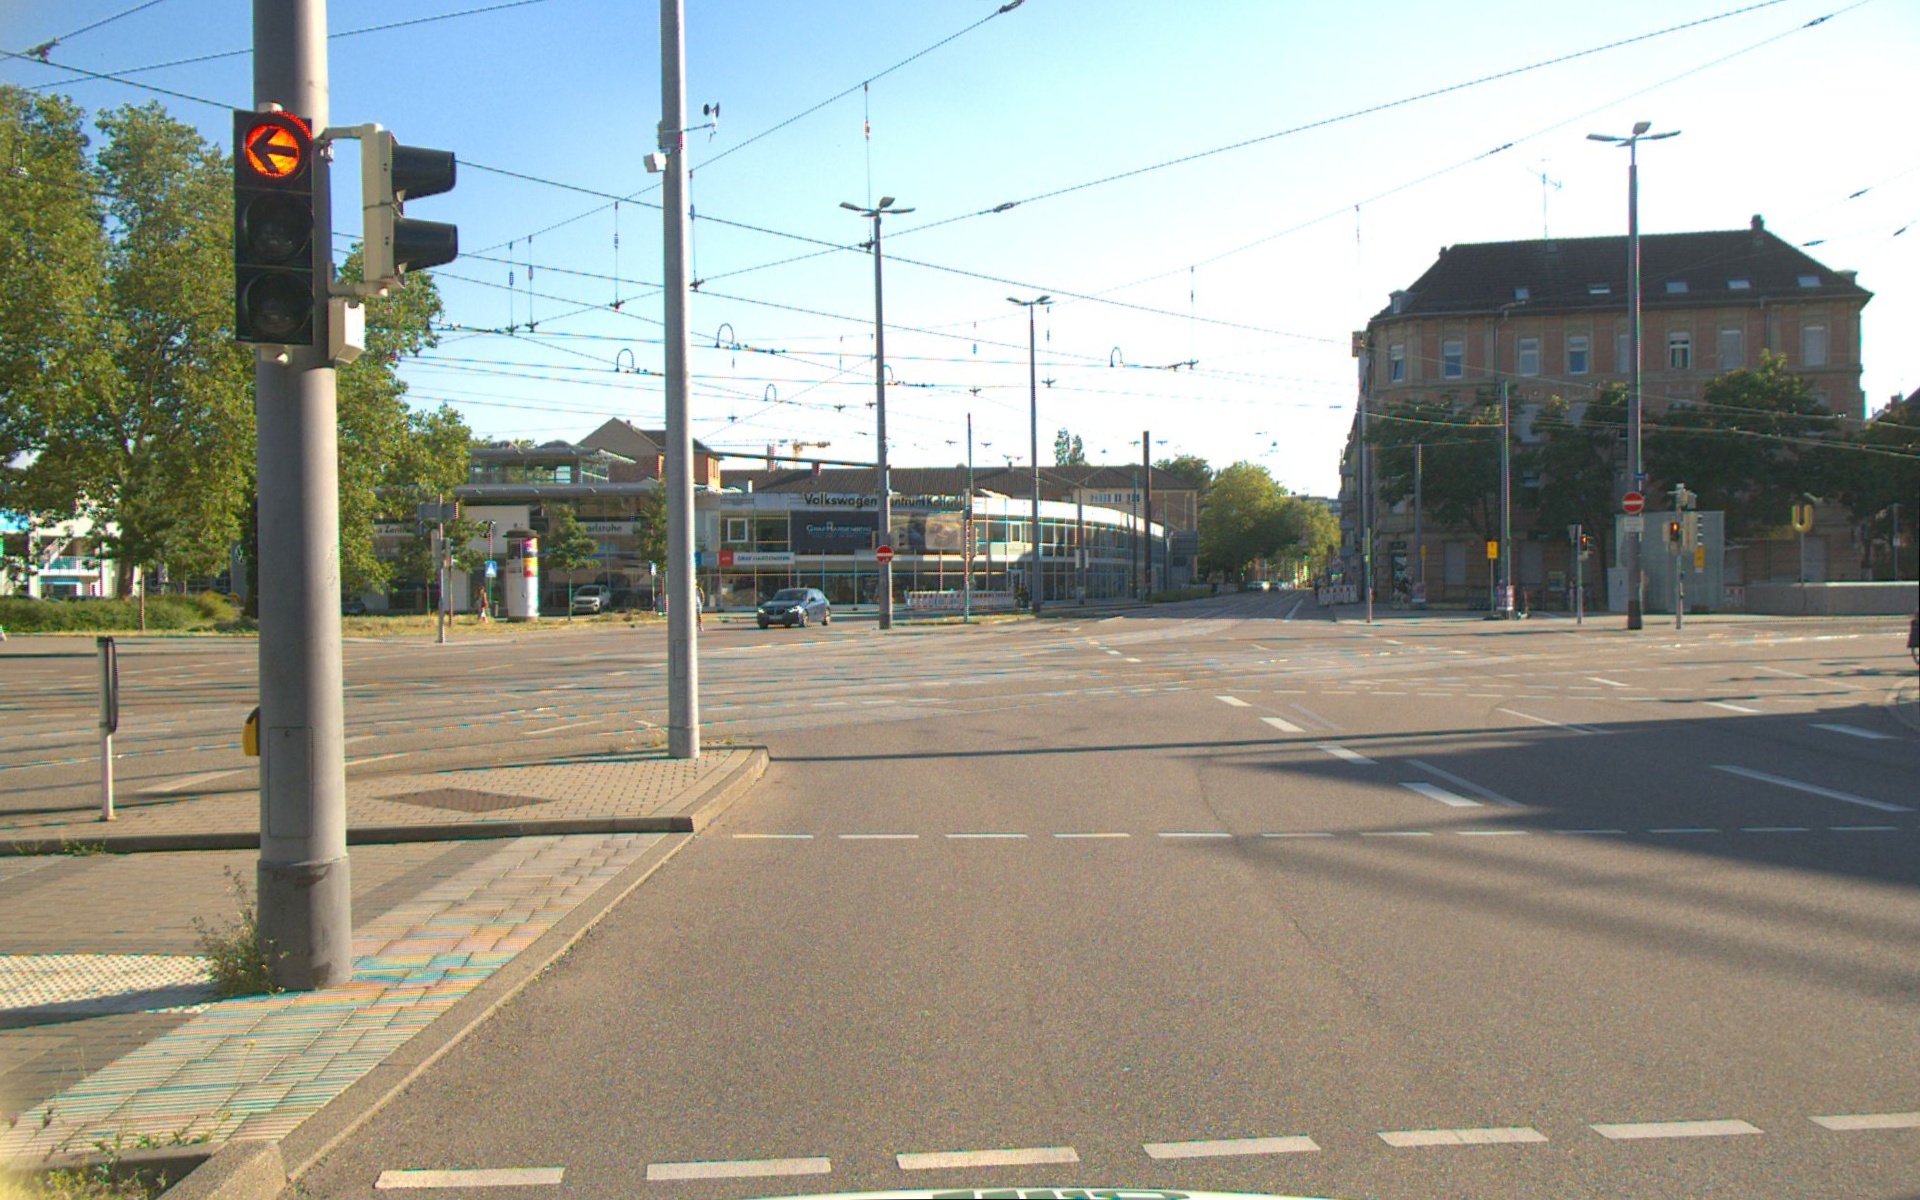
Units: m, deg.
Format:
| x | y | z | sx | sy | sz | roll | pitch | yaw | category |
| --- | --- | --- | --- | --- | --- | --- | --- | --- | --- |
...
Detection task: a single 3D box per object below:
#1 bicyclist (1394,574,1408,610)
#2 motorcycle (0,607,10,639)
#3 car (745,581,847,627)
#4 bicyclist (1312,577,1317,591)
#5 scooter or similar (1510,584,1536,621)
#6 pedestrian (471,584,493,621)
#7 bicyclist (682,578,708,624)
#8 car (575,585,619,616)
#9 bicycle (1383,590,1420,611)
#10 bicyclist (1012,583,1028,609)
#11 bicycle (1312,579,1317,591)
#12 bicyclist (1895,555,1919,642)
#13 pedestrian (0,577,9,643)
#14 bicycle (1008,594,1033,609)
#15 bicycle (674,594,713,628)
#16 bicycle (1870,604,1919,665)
| x | y | z | sx | sy | sz | roll | pitch | yaw | category |
| --- | --- | --- | --- | --- | --- | --- | --- | --- | --- |
| 21.406 | -0.384 | 80.208 | 0.505 | 1.730 | 0.519 | 1 | -1 | 33 | bicyclist |
| -28.923 | 0.670 | 48.494 | 1.748 | 0.930 | 0.675 | 1 | 0 | -21 | motorcycle |
| -6.068 | 0.164 | 61.659 | 1.954 | 1.613 | 3.996 | 1 | 0 | 26 | car |
| 27.821 | -1.264 | 129.808 | 0.399 | 1.136 | 0.399 | 1 | -1 | 11 | bicyclist |
| 21.592 | 0.097 | 63.478 | 0.769 | 1.400 | 1.910 | 1 | 0 | 13 | scooter or similar |
| -22.452 | 0.105 | 77.690 | 0.839 | 1.723 | 0.496 | 1 | -1 | -3 | pedestrian |
| -9.561 | 0.049 | 59.669 | 0.585 | 1.644 | 0.823 | 1 | -1 | 16 | bicyclist |
| -21.684 | 0.014 | 98.881 | 1.954 | 1.780 | 3.997 | 1 | 0 | -4 | car |
| 21.407 | 0.030 | 80.205 | 1.566 | 0.969 | 0.657 | 1 | 0 | 33 | bicycle |
| 3.723 | -0.253 | 102.298 | 0.641 | 1.600 | 0.921 | 1 | -1 | 28 | bicyclist |
| 27.841 | -1.169 | 129.855 | 0.401 | 0.958 | 1.847 | 1 | 0 | 12 | bicycle |
| 17.597 | -0.019 | 30.113 | 0.505 | 1.584 | 0.945 | 1 | 0 | -9 | bicyclist |
| -28.008 | 0.281 | 47.599 | 0.777 | 1.919 | 0.759 | 1 | -1 | 6 | pedestrian |
| 3.770 | 0.117 | 102.398 | 0.626 | 0.885 | 2.231 | 1 | 0 | 29 | bicycle |
| -9.595 | 0.387 | 59.566 | 0.599 | 1.210 | 1.870 | 1 | 0 | 17 | bicycle |
| 17.592 | 0.634 | 30.052 | 0.524 | 1.067 | 2.316 | 1 | 1 | -9 | bicycle |
